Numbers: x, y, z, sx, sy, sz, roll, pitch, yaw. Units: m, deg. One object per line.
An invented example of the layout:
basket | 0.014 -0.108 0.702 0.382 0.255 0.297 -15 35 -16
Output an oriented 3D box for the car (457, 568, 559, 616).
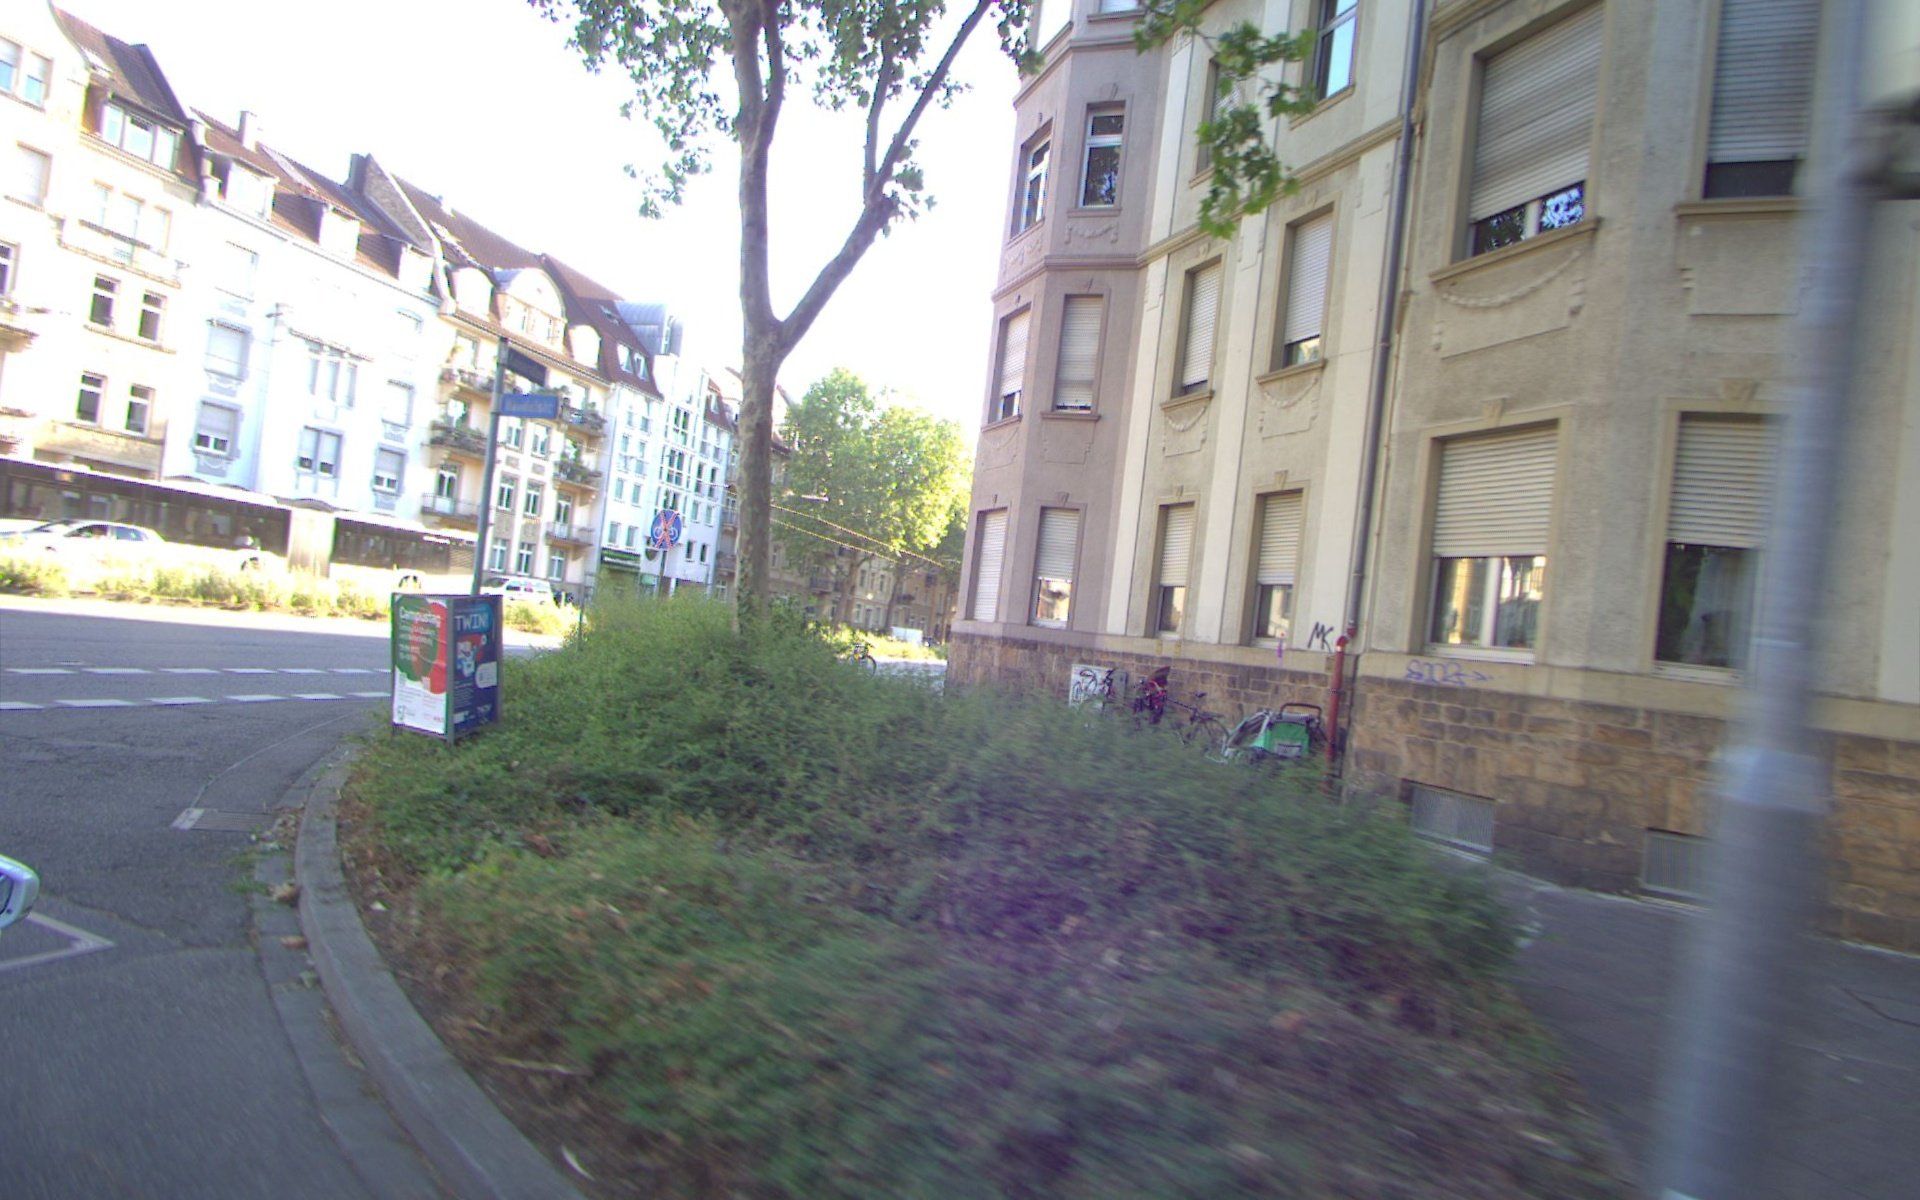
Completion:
car | -23.285 -0.353 52.035 1.875 1.806 4.659 6 -3 21

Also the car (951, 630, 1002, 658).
car | 1.993 5.254 119.854 5.437 2.558 2.116 8 -2 -23

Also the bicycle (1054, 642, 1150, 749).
bicycle | 2.120 1.411 15.324 0.366 1.411 1.923 7 -2 -22

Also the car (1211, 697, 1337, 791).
car | 3.708 1.690 11.938 0.914 0.960 1.060 4 -1 -23

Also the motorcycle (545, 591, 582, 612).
motorcycle | -24.063 0.082 61.062 0.520 1.032 2.422 9 -1 18

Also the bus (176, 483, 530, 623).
bus | -22.260 -1.443 38.396 3.204 3.411 11.993 6 -3 19

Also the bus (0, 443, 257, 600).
bus | -25.805 -2.326 28.014 3.215 3.411 9.912 6 -3 19

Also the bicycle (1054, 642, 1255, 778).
bicycle | 2.607 1.456 14.079 0.942 1.488 3.141 8 -3 -25

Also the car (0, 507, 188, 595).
car | -23.365 -1.294 26.714 1.901 1.702 4.004 6 -3 22

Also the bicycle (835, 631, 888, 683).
bicycle | -2.248 1.321 23.202 0.430 1.111 1.934 7 -2 15

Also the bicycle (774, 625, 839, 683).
bicycle | -3.059 1.114 20.238 0.364 1.081 1.876 6 -2 19

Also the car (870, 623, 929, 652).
car | -5.718 3.531 95.599 5.179 2.090 1.713 8 -2 -23
